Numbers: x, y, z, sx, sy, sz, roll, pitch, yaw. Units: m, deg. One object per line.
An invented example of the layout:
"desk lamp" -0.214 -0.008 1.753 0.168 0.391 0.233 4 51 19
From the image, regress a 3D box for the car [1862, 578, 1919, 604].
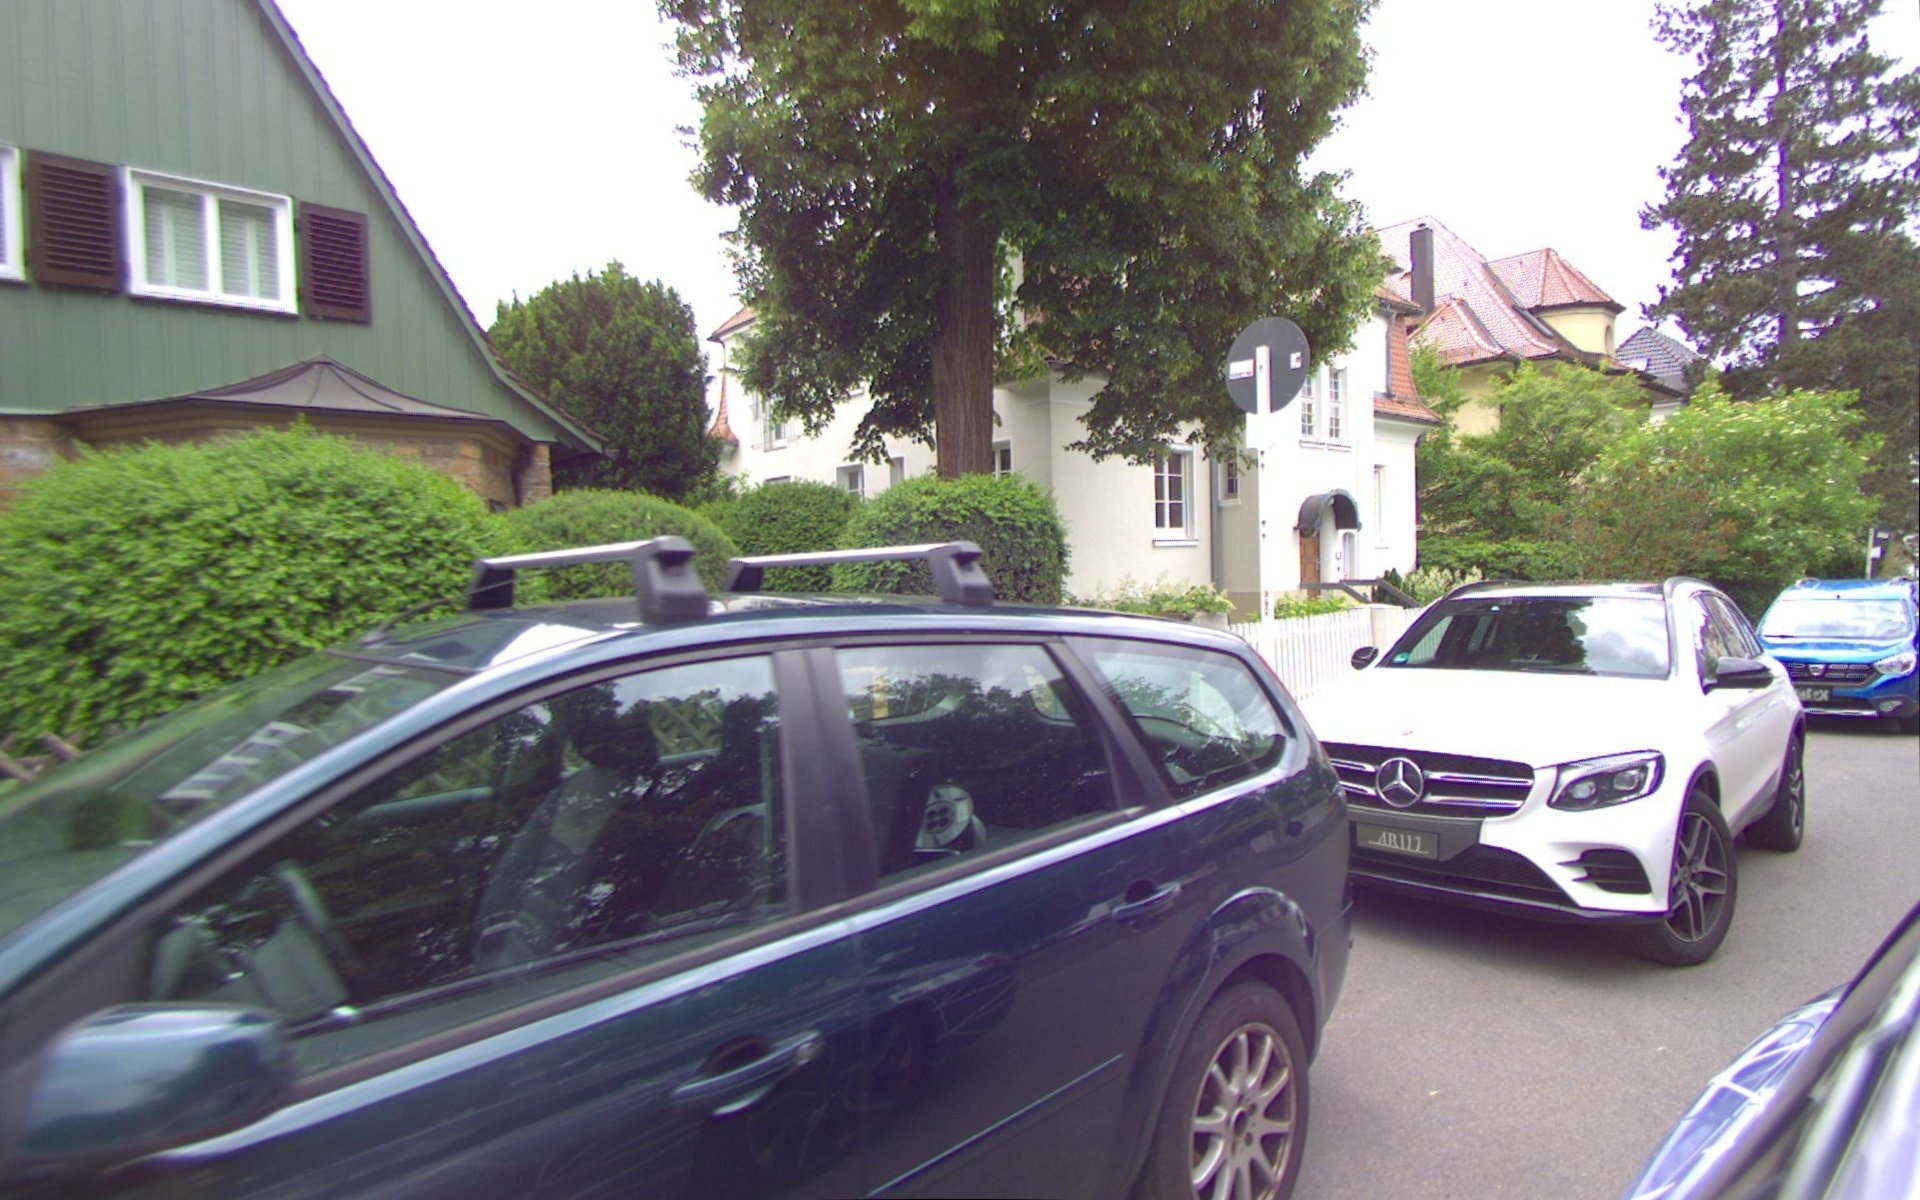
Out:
"car" 54.653 -0.521 57.805 1.728 1.468 4.365 -1 0 -27

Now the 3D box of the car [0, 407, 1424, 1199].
"car" -0.845 0.610 2.013 4.235 1.590 1.700 -1 1 -42

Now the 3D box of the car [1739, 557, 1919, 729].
"car" 11.402 0.482 12.773 4.084 1.853 1.685 0 -2 -41

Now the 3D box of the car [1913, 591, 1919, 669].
"car" 22.134 0.573 21.891 4.004 1.628 1.752 -1 -1 -41

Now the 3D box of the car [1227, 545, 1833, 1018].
"car" 3.485 0.622 5.699 4.499 1.626 1.758 0 -1 -44
